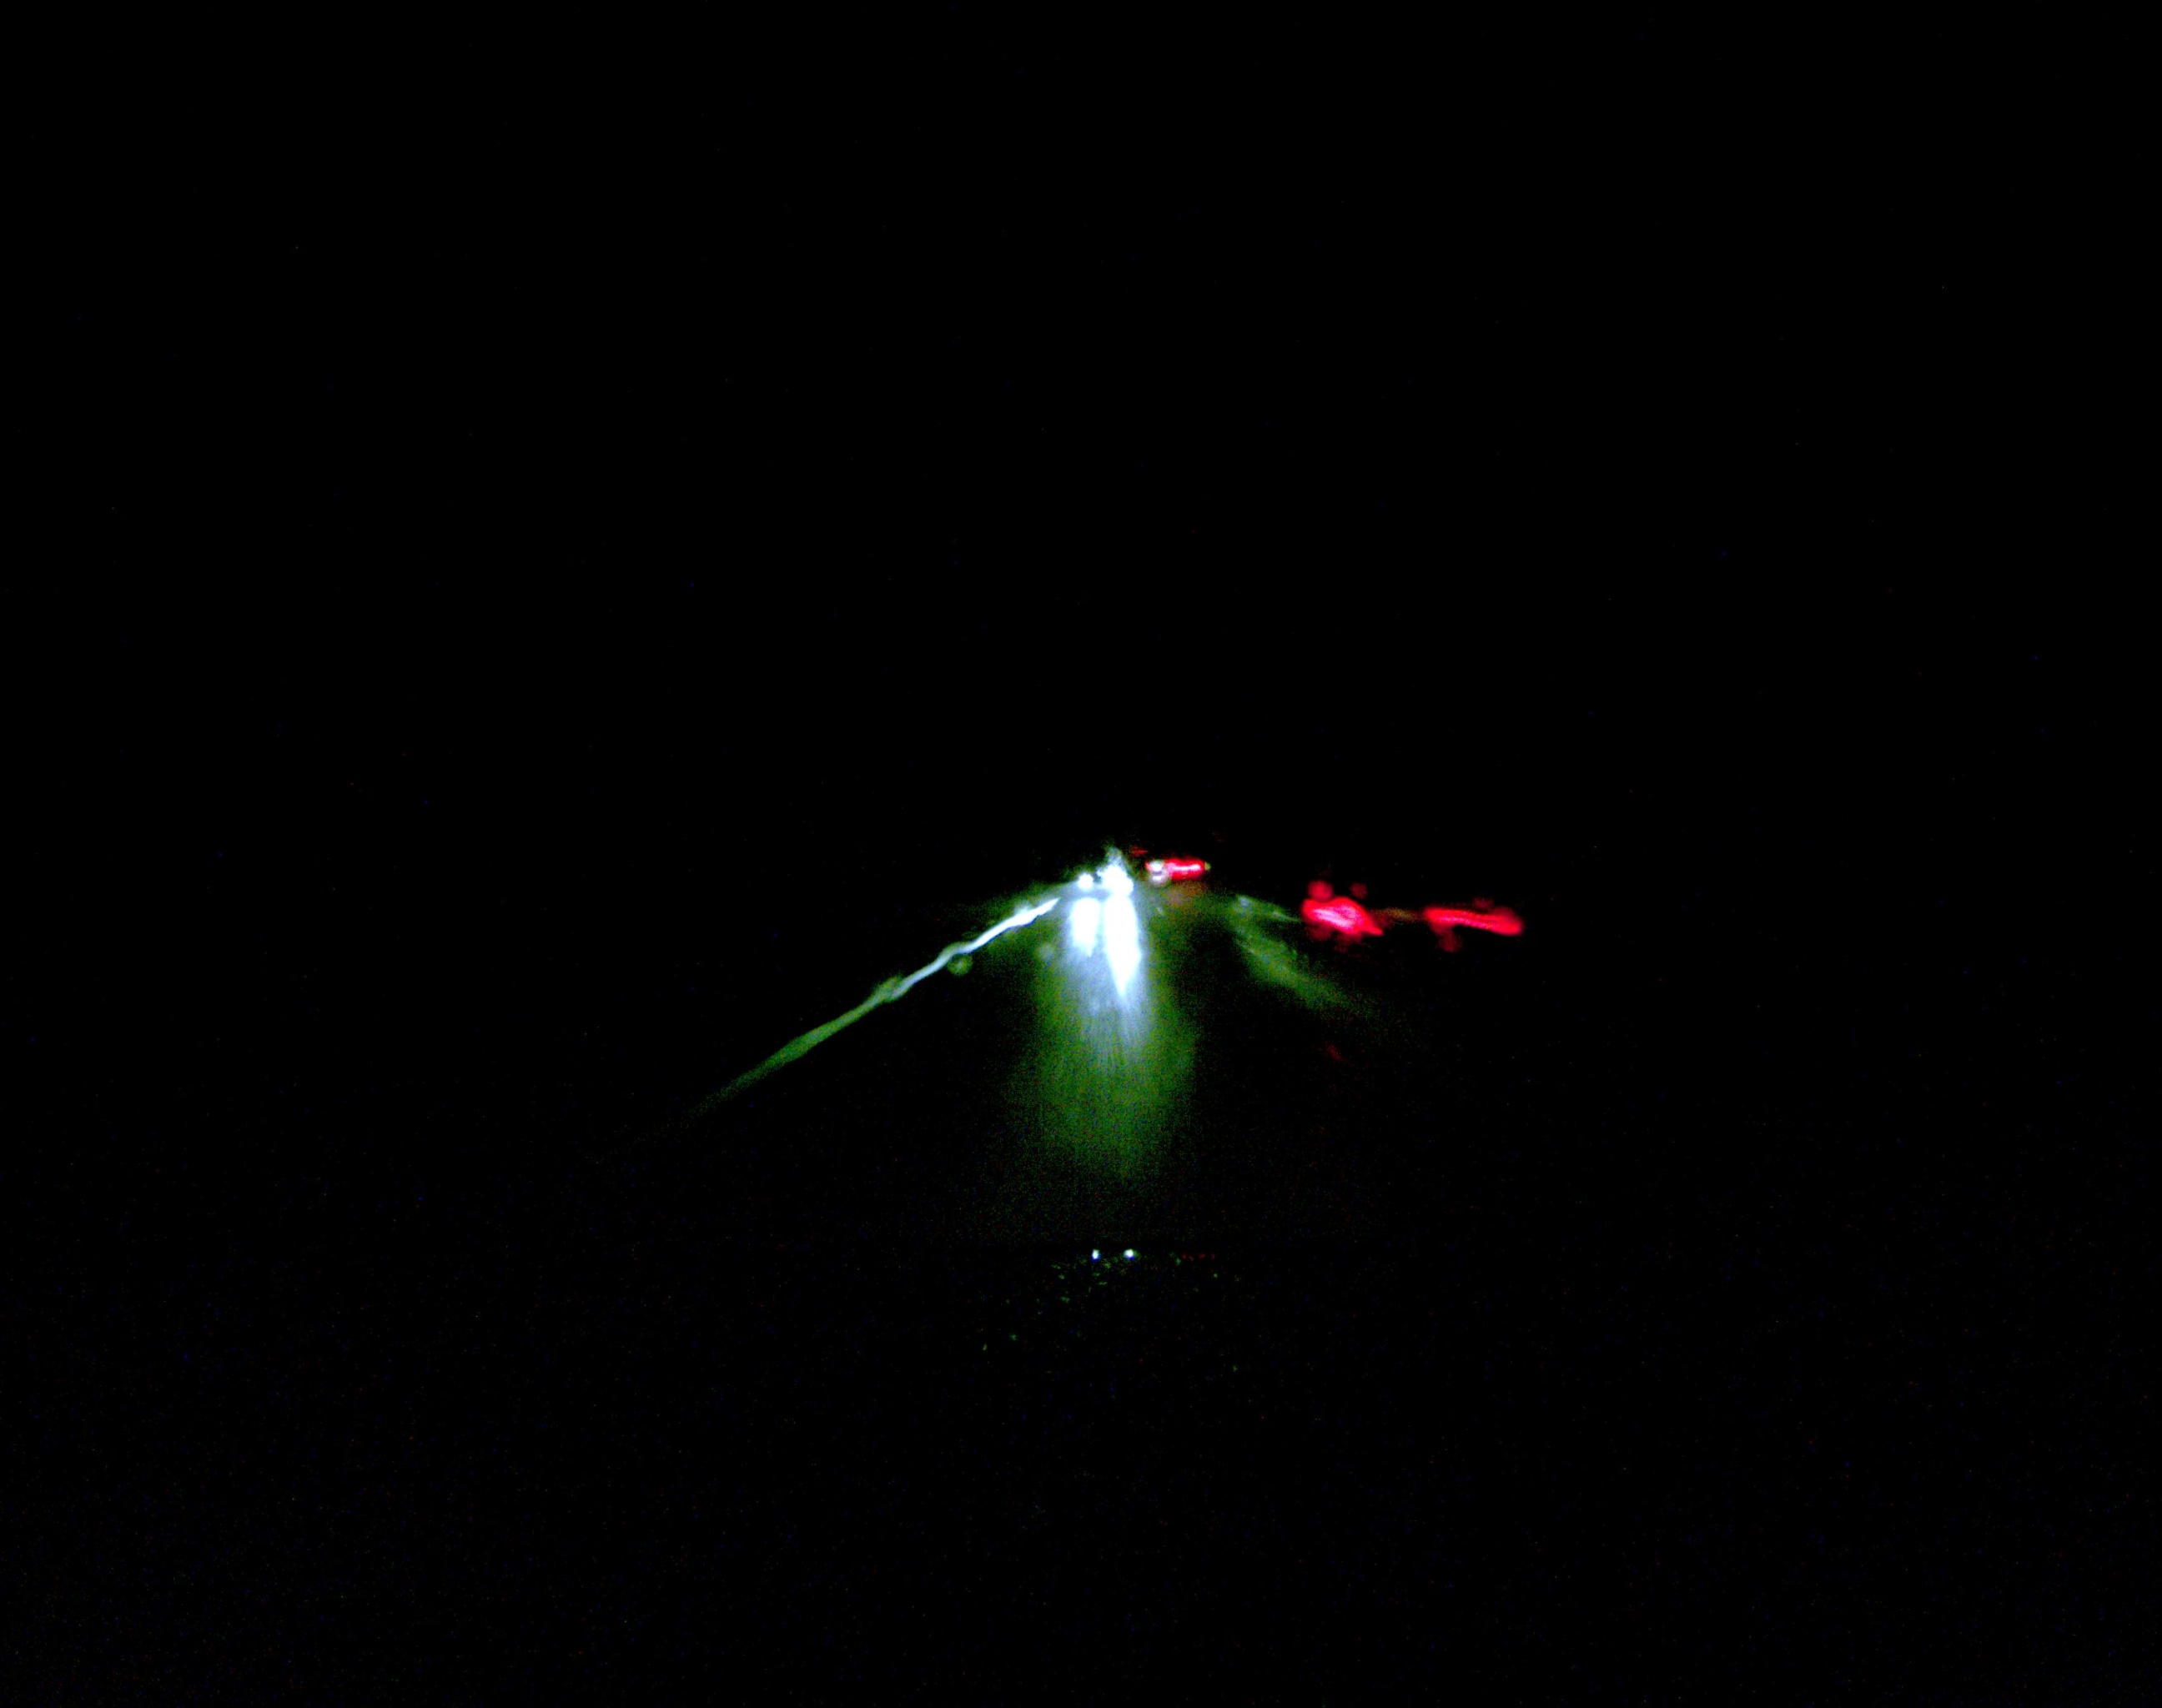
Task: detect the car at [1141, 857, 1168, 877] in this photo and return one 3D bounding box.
[{"bbox_3d":[5.770,1.027,60.125,1.856,1.480,3.994,-3,0,2],"label":"car"}]

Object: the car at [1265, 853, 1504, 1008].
[{"bbox_3d":[3.435,0.782,9.309,1.598,1.501,3.601,1,-1,2],"label":"car"}]

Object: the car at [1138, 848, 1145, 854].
[{"bbox_3d":[16.197,-0.768,203.208,1.744,1.632,3.599,-3,1,1],"label":"car"}]

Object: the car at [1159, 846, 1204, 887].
[{"bbox_3d":[5.436,0.641,41.521,1.998,2.056,4.346,-2,0,2],"label":"car"}]

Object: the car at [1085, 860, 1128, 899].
[{"bbox_3d":[1.141,1.093,34.267,1.744,1.502,3.600,-3,1,2],"label":"car"}]
